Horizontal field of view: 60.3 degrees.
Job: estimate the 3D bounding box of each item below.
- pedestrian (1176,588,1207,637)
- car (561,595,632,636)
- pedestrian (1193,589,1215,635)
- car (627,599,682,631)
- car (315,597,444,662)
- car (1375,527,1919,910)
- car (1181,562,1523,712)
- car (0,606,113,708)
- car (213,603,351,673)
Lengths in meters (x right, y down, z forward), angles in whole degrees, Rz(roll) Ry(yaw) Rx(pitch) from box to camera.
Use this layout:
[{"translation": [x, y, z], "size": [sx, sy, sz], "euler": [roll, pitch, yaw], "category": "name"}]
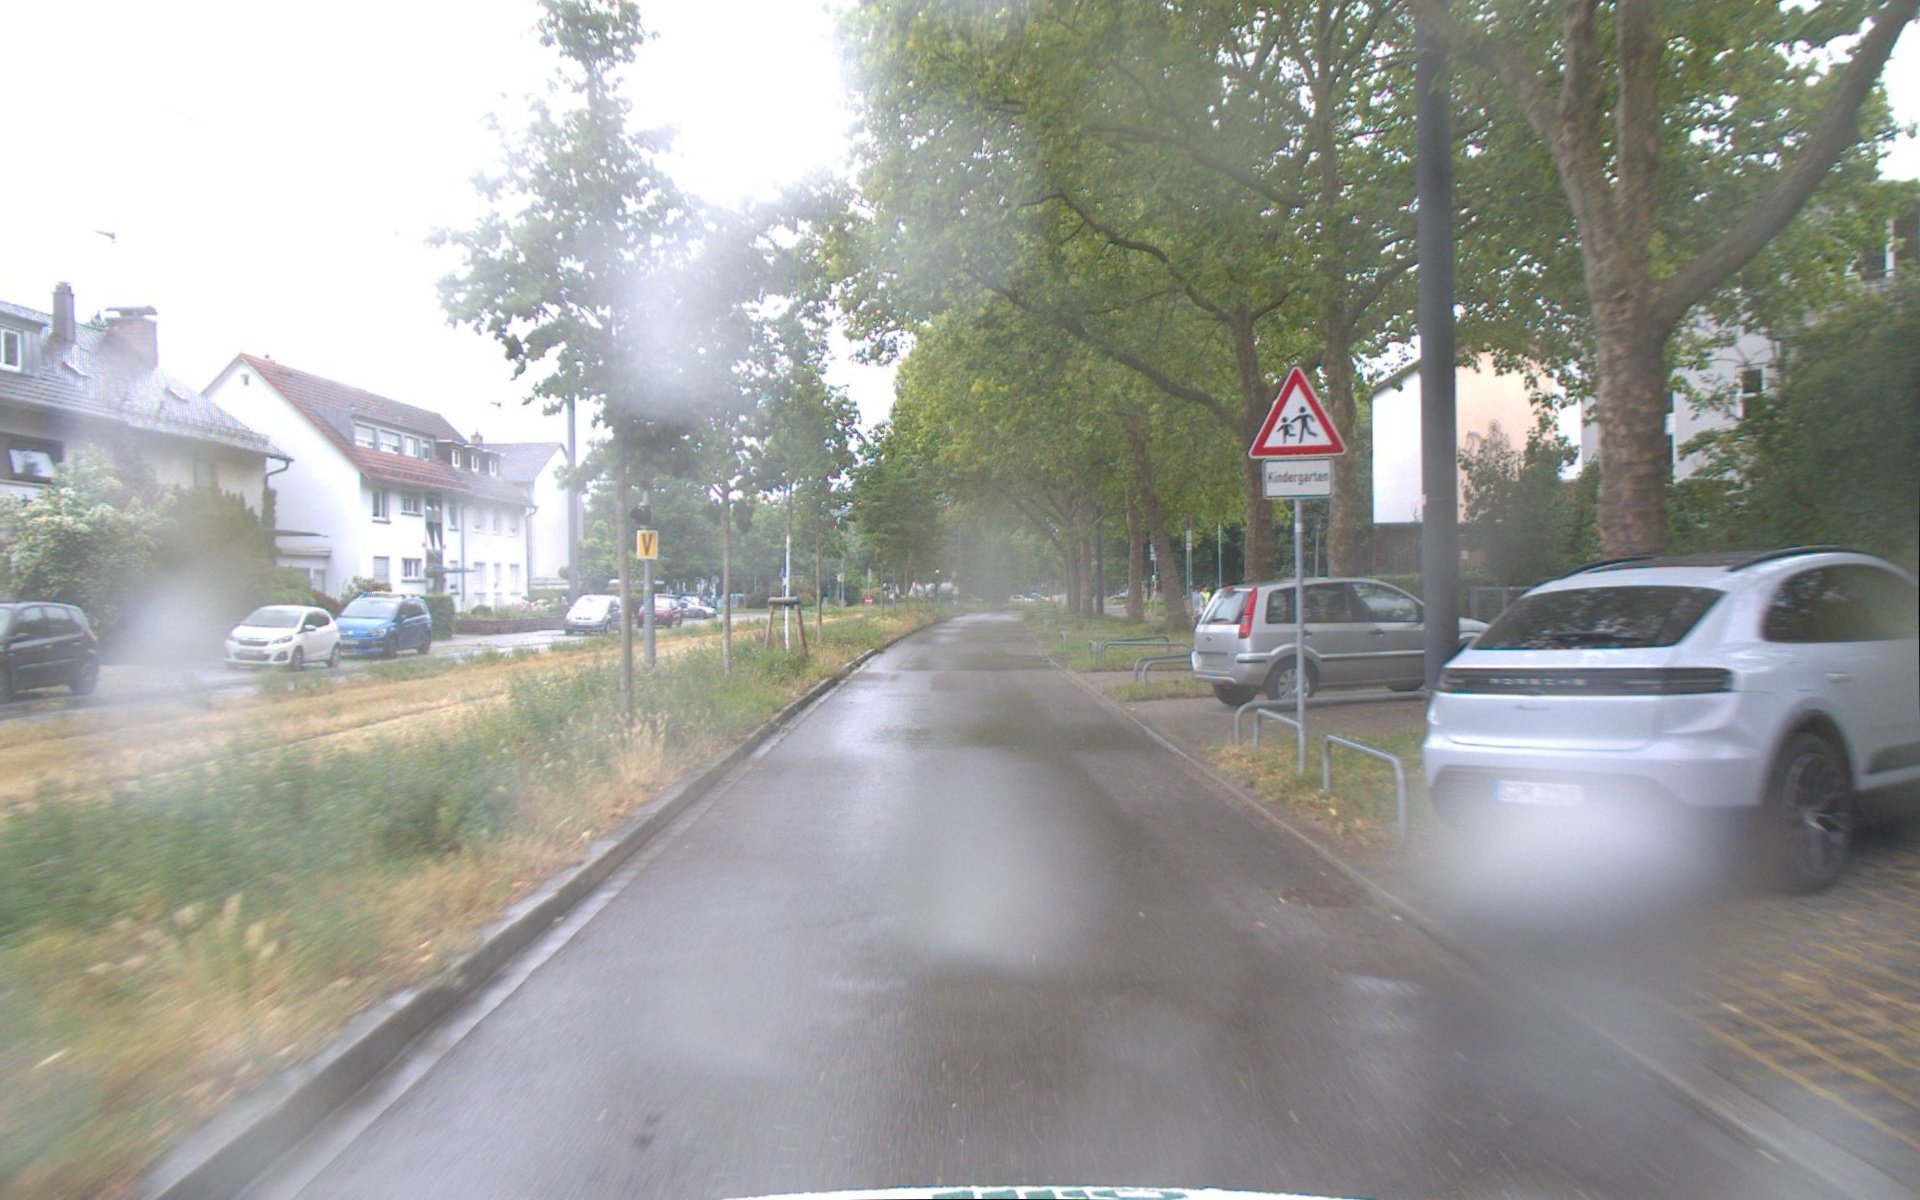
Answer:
[{"translation": [7.699, 0.415, 55.054], "size": [0.817, 1.565, 0.859], "euler": [-2, 0, -4], "category": "pedestrian"}, {"translation": [-15.294, 0.628, 69.771], "size": [1.952, 1.608, 4.517], "euler": [1, 1, 0], "category": "car"}, {"translation": [8.481, 0.410, 57.505], "size": [0.545, 1.565, 0.966], "euler": [-1, 0, -4], "category": "pedestrian"}, {"translation": [-15.391, 0.753, 83.628], "size": [1.952, 1.514, 4.206], "euler": [1, 1, 0], "category": "car"}, {"translation": [-15.996, 0.777, 45.830], "size": [1.952, 1.642, 4.413], "euler": [1, 1, 0], "category": "car"}, {"translation": [4.711, 0.469, 9.582], "size": [4.726, 1.697, 1.968], "euler": [-2, 1, -38], "category": "car"}, {"translation": [4.839, 0.417, 20.522], "size": [3.791, 1.593, 1.613], "euler": [-3, 1, -15], "category": "car"}, {"translation": [-16.176, 0.910, 27.505], "size": [1.952, 1.543, 4.206], "euler": [1, 1, 0], "category": "car"}, {"translation": [-16.006, 0.862, 39.228], "size": [1.759, 1.514, 3.597], "euler": [1, 1, 0], "category": "car"}]
